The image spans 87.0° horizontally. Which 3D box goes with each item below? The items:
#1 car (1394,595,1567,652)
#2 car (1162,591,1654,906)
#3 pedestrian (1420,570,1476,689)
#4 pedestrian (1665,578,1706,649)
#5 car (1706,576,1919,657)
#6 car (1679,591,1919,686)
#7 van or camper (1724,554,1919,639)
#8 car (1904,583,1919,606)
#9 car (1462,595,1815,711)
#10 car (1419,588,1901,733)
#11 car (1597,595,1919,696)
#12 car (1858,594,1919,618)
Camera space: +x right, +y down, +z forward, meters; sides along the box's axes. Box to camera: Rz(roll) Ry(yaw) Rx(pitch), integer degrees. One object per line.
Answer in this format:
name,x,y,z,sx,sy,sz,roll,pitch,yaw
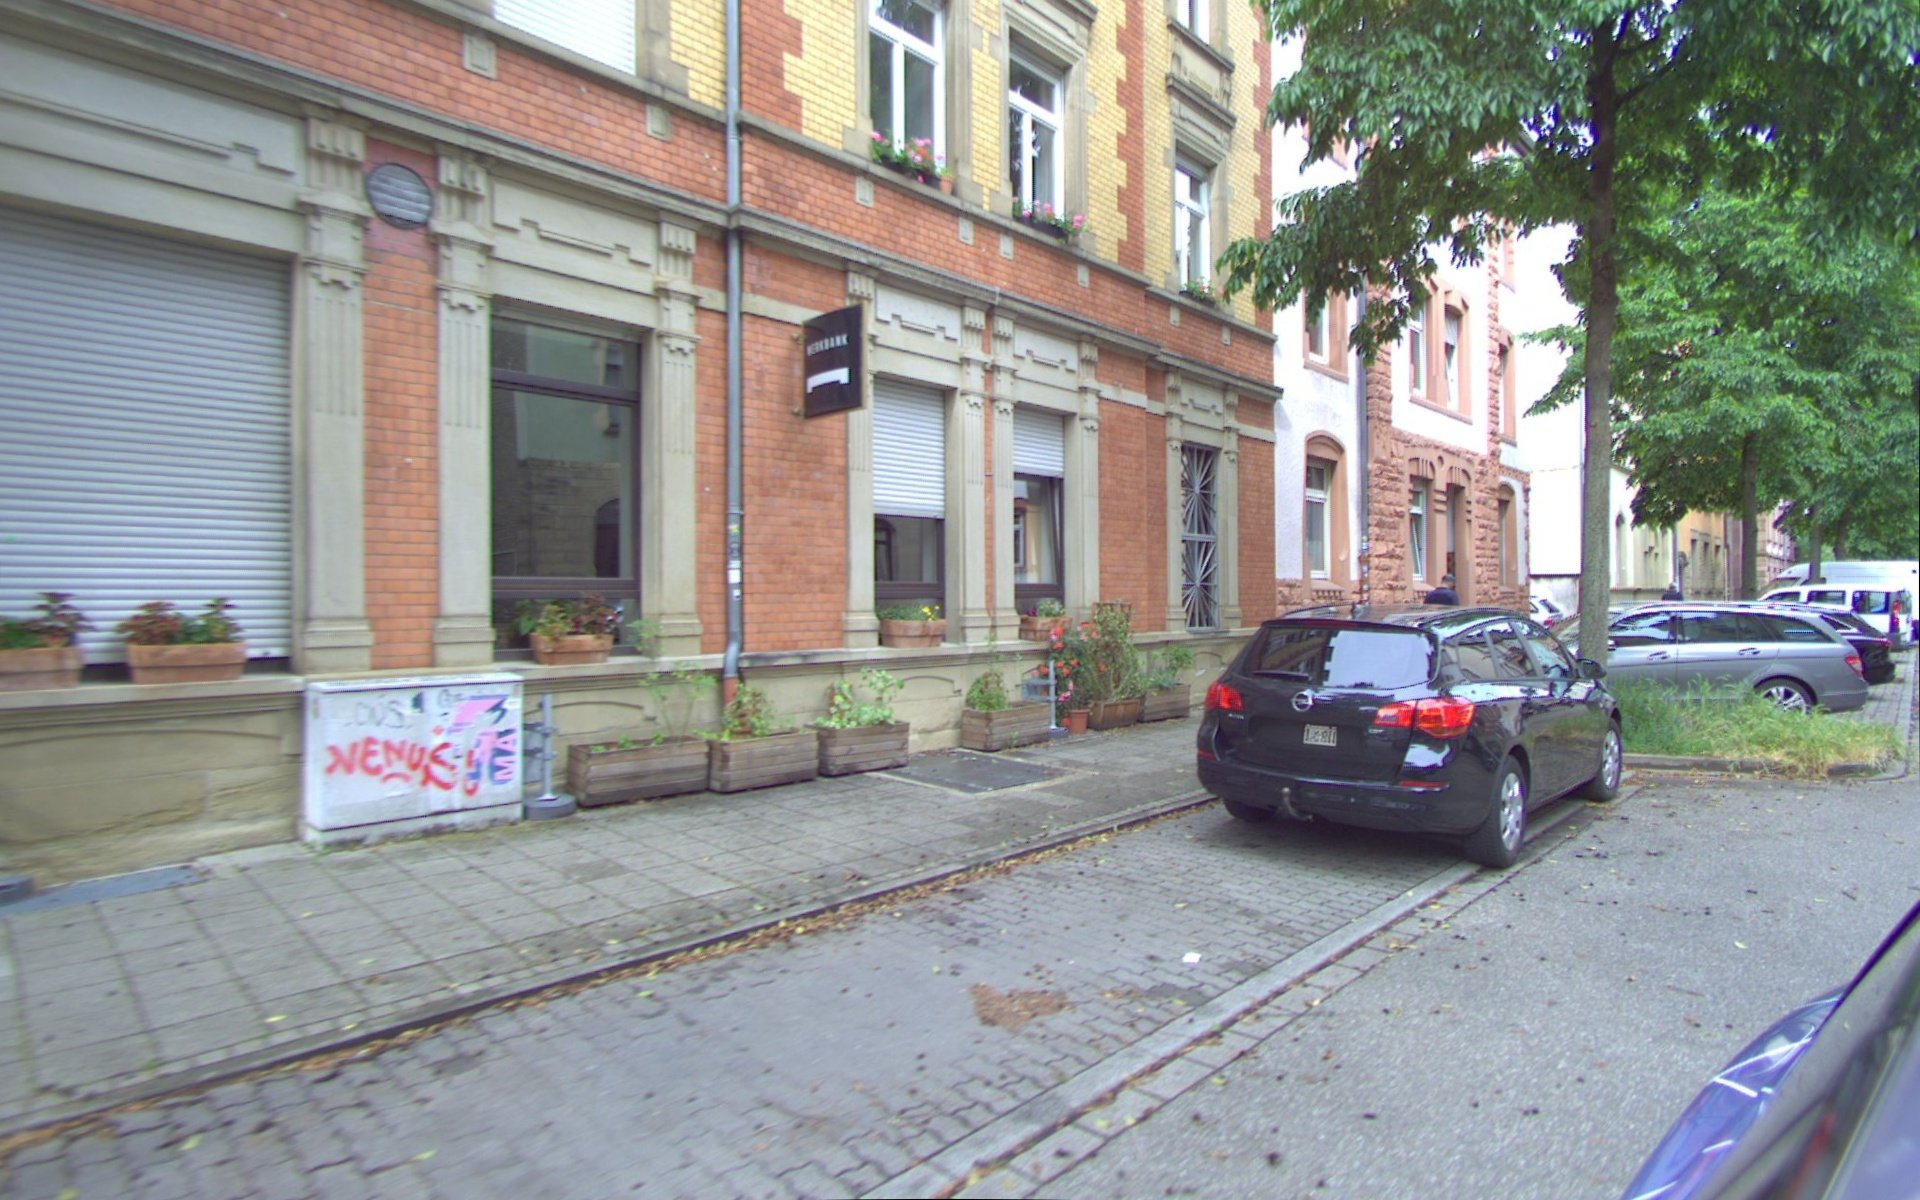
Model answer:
car,14.357,0.611,28.067,3.987,1.472,1.584,0,0,45
car,3.400,0.705,7.157,1.764,1.504,4.408,2,2,44
pedestrian,7.426,0.432,15.394,0.597,1.755,0.653,0,0,43
pedestrian,19.068,0.353,26.600,0.803,1.835,0.701,0,-1,-45
car,21.209,0.376,25.143,1.689,1.834,3.997,0,0,-37
car,15.173,0.663,18.082,3.428,1.583,1.773,-1,-1,23
van or camper,28.117,-0.099,32.681,4.995,2.624,2.064,0,0,15
car,78.223,-0.450,82.198,3.933,1.772,1.995,0,-1,-44
car,9.527,0.704,14.563,3.827,1.453,1.739,0,2,14
car,8.130,0.634,12.203,4.375,1.445,1.753,1,1,11
car,12.482,0.673,16.031,3.639,1.485,1.698,0,0,14
car,59.349,0.358,63.980,3.577,1.485,1.612,-1,-1,32
